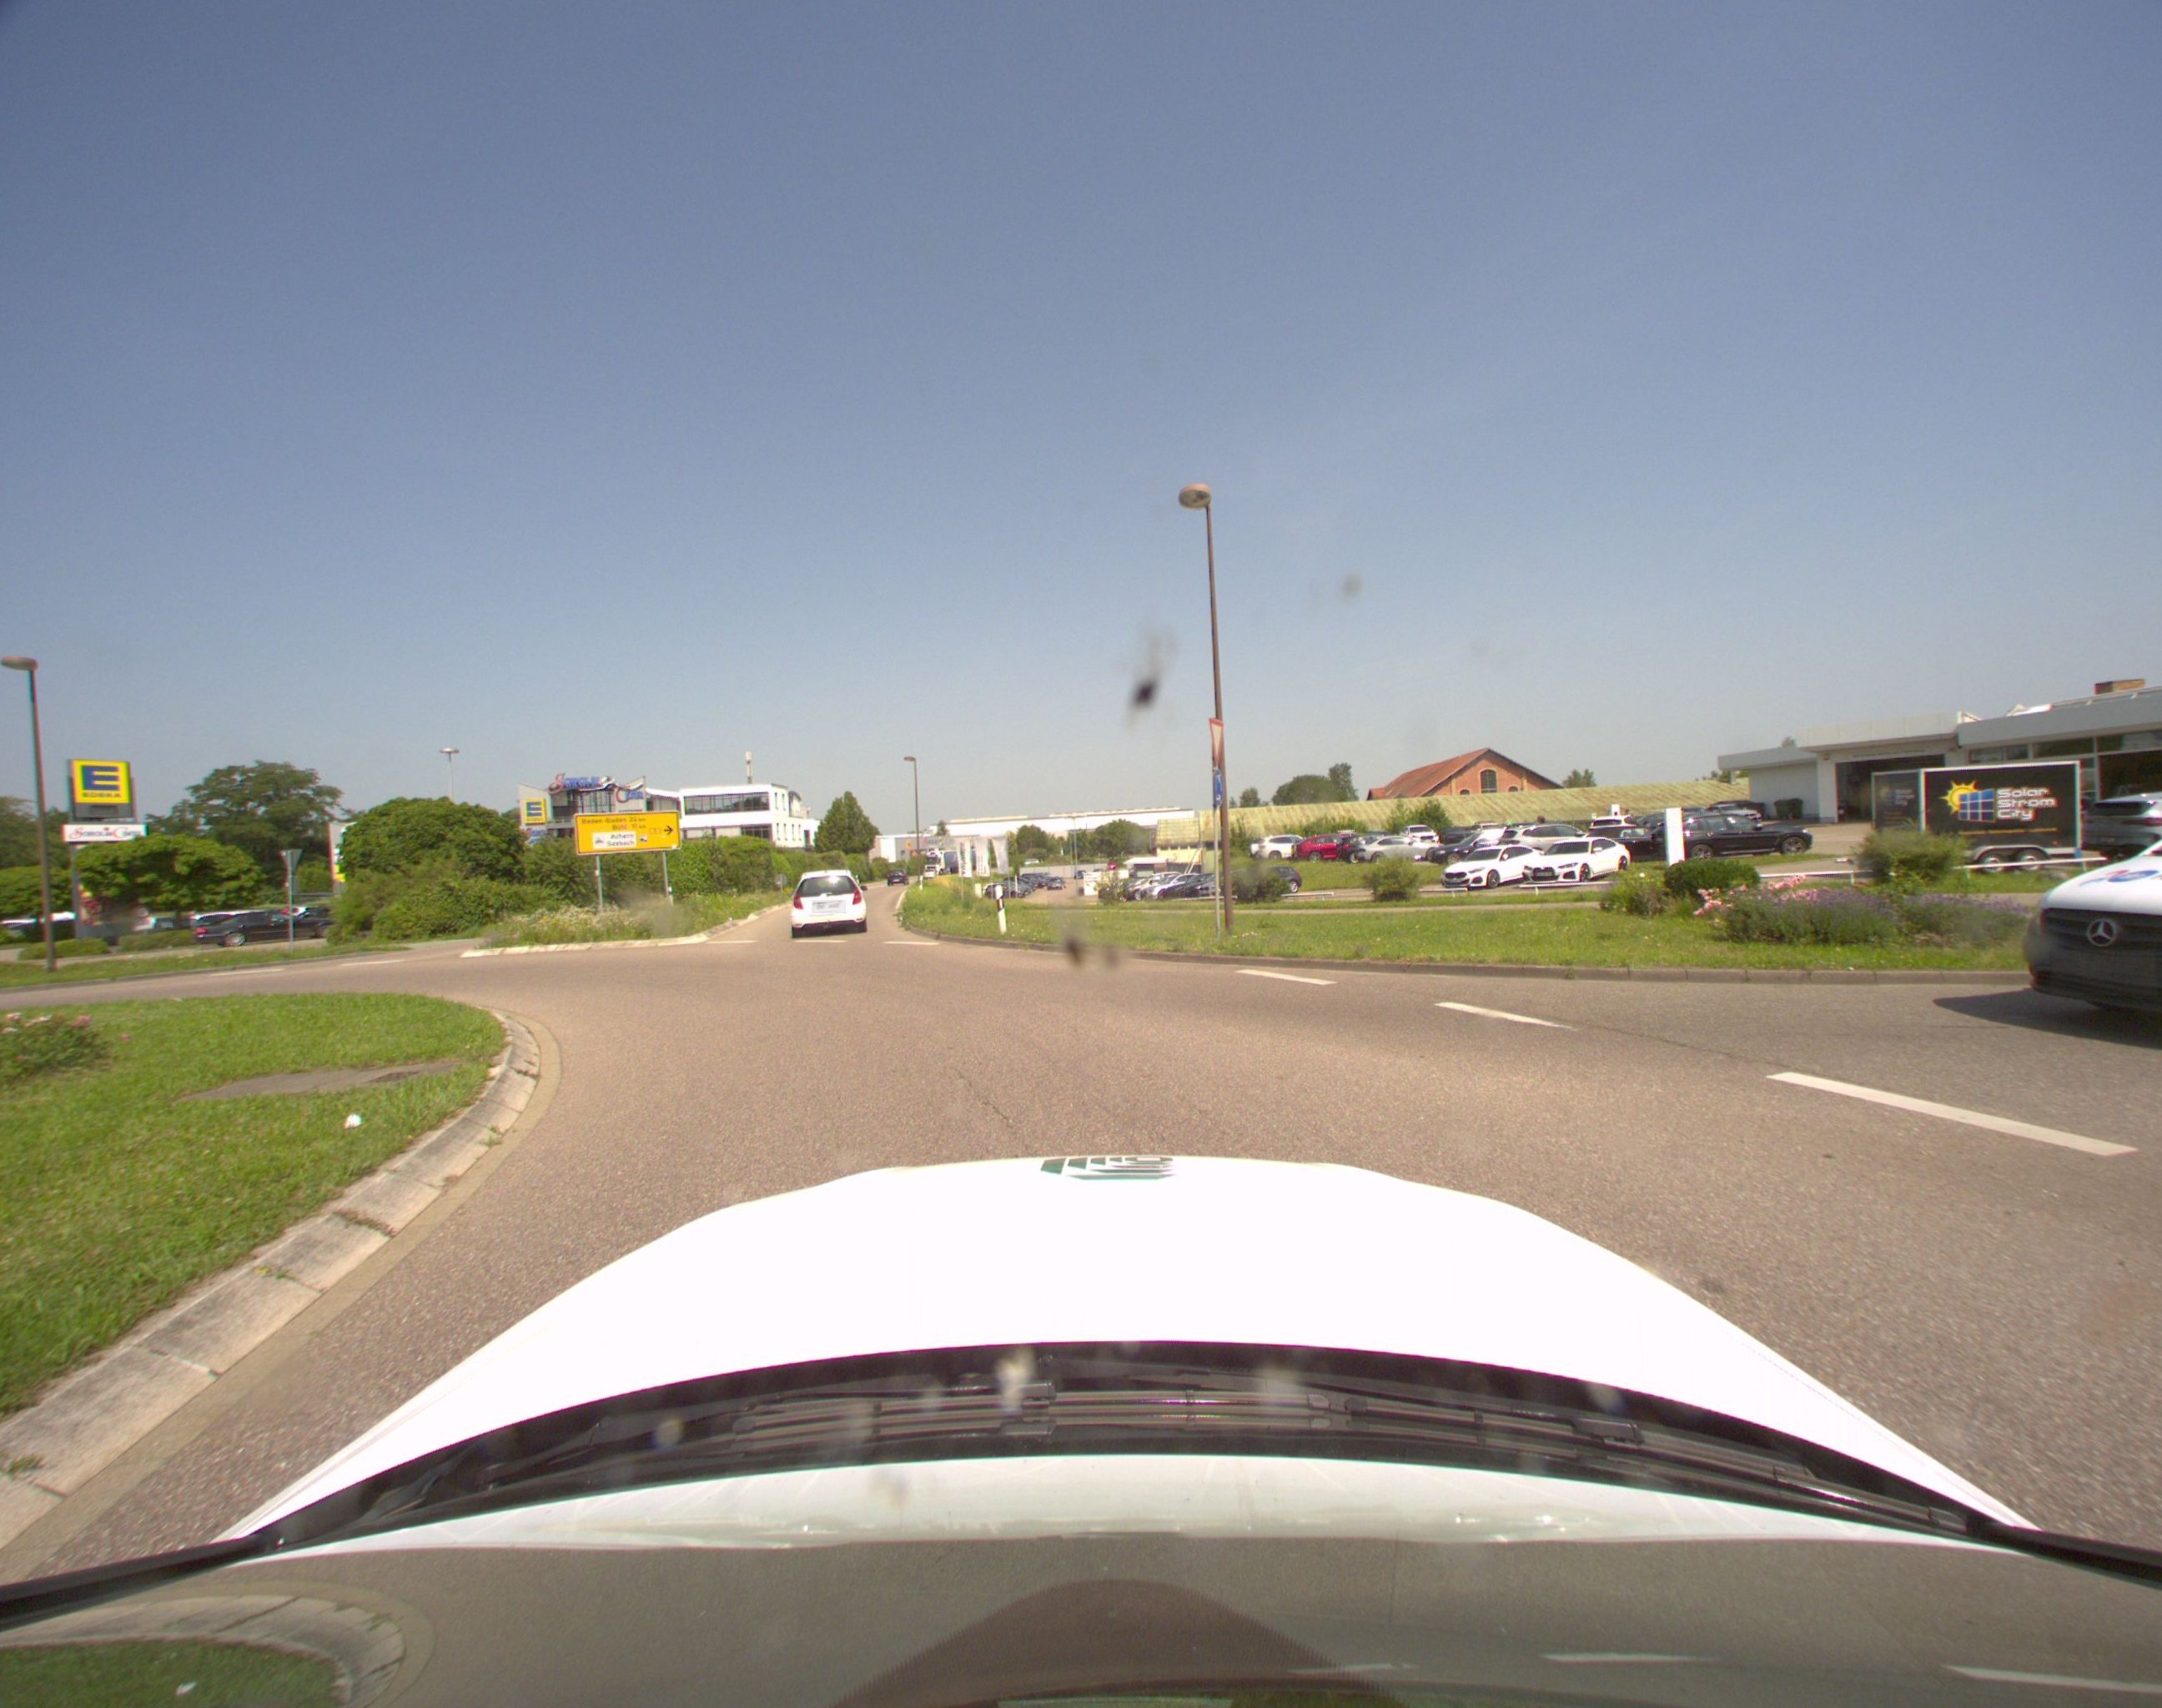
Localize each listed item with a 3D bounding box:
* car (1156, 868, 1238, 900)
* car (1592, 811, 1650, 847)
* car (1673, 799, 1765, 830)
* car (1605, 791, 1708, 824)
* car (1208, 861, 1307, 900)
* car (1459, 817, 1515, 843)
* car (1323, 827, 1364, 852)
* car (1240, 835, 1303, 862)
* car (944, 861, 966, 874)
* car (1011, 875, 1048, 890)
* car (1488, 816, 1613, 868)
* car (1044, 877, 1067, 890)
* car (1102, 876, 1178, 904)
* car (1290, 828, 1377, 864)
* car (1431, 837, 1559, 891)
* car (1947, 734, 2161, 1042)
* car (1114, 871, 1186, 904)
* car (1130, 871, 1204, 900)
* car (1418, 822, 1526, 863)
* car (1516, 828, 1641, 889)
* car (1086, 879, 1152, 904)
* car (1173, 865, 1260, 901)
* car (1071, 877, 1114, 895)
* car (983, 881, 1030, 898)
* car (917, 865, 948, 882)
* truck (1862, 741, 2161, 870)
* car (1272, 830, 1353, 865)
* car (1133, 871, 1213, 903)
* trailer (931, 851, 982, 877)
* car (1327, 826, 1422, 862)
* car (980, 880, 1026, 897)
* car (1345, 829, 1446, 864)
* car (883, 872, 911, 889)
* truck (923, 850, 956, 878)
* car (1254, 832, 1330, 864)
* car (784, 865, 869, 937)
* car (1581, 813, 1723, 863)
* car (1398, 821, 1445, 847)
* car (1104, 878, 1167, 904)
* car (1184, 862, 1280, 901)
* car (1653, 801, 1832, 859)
[{"bbox_3d":[6.743,1.754,47.478,4.255,1.412,1.913,-5,-2,-14],"label":"car"},{"bbox_3d":[27.014,-1.281,40.678,1.637,1.586,4.295,-4,0,44],"label":"car"},{"bbox_3d":[32.640,-2.013,41.739,1.658,1.275,3.320,-4,0,-20],"label":"car"},{"bbox_3d":[33.265,-2.666,47.189,4.426,1.522,1.955,-4,0,10],"label":"car"},{"bbox_3d":[8.721,1.285,40.106,4.585,1.421,1.767,-5,-3,-28],"label":"car"},{"bbox_3d":[28.286,-1.644,56.906,2.176,1.596,4.314,-4,0,8],"label":"car"},{"bbox_3d":[18.149,-0.983,56.514,1.906,1.596,4.314,-4,0,8],"label":"car"},{"bbox_3d":[12.851,-0.378,54.978,3.856,1.532,1.771,-4,0,5],"label":"car"},{"bbox_3d":[-20.647,2.248,133.402,1.978,2.014,4.016,-2,-1,15],"label":"car"},{"bbox_3d":[-6.473,3.589,102.465,4.181,1.700,1.931,-2,1,29],"label":"car"},{"bbox_3d":[19.518,-0.487,34.022,3.977,1.750,1.953,-5,0,5],"label":"car"},{"bbox_3d":[-3.013,3.534,98.287,2.125,1.457,4.539,-2,-1,5],"label":"car"},{"bbox_3d":[4.046,2.507,56.399,4.774,1.508,1.990,-5,-3,-14],"label":"car"},{"bbox_3d":[14.664,-0.464,47.529,4.432,1.747,1.952,-4,0,5],"label":"car"},{"bbox_3d":[15.052,0.350,29.547,4.591,1.570,1.752,-4,-1,-29],"label":"car"},{"bbox_3d":[9.447,0.120,5.222,5.180,1.938,1.866,-2,-1,11],"label":"car"},{"bbox_3d":[4.616,2.258,54.411,4.255,1.748,1.990,-5,-2,-14],"label":"car"},{"bbox_3d":[5.544,2.054,52.505,4.255,1.465,1.864,-5,-3,-14],"label":"car"},{"bbox_3d":[17.578,-0.520,36.764,3.970,1.526,1.956,-4,0,11],"label":"car"},{"bbox_3d":[16.831,0.132,27.466,4.686,1.570,1.749,-7,1,-35],"label":"car"},{"bbox_3d":[2.857,2.828,61.632,4.493,1.640,2.134,-2,-2,-18],"label":"car"},{"bbox_3d":[7.531,1.621,45.267,4.267,1.482,1.908,-5,-2,-23],"label":"car"},{"bbox_3d":[1.193,3.210,81.388,3.931,1.523,1.757,-3,-1,12],"label":"car"},{"bbox_3d":[-7.189,3.410,78.228,4.120,1.523,1.700,-3,-1,25],"label":"car"},{"bbox_3d":[-19.441,2.554,106.827,1.976,2.014,4.021,-3,-1,22],"label":"car"},{"bbox_3d":[23.245,-1.150,20.041,5.573,2.664,1.956,-4,0,10],"label":"truck"},{"bbox_3d":[14.111,-0.394,49.925,4.432,1.747,1.842,-4,0,5],"label":"car"},{"bbox_3d":[5.642,2.034,49.916,4.439,1.465,1.908,-5,-2,-22],"label":"car"},{"bbox_3d":[-21.528,1.672,142.198,2.650,4.241,14.626,-2,-1,16],"label":"trailer"},{"bbox_3d":[15.949,-0.524,44.399,4.432,1.634,1.952,-4,0,5],"label":"car"},{"bbox_3d":[-7.792,3.485,81.544,4.123,1.523,1.760,-3,-1,21],"label":"car"},{"bbox_3d":[16.203,-0.380,42.135,4.432,1.500,1.952,-4,0,5],"label":"car"},{"bbox_3d":[-16.797,2.409,74.429,1.825,1.470,4.403,-2,-1,-4],"label":"car"},{"bbox_3d":[-23.526,1.614,135.679,2.493,4.257,6.141,-4,-1,18],"label":"truck"},{"bbox_3d":[13.606,-0.397,52.664,4.432,1.747,1.842,-4,0,5],"label":"car"},{"bbox_3d":[-6.623,1.148,20.958,1.788,1.603,3.865,-2,-1,-21],"label":"car"},{"bbox_3d":[21.962,-0.614,31.446,3.977,1.499,1.953,-5,1,5],"label":"car"},{"bbox_3d":[23.743,-1.371,56.988,1.906,1.596,4.314,-4,0,8],"label":"car"},{"bbox_3d":[3.939,2.689,58.709,3.998,1.552,1.987,-4,-3,-18],"label":"car"},{"bbox_3d":[7.938,1.443,42.796,4.578,1.566,1.908,-5,-2,-23],"label":"car"},{"bbox_3d":[22.809,-0.792,28.231,4.391,1.500,1.952,-6,-1,5],"label":"car"}]
